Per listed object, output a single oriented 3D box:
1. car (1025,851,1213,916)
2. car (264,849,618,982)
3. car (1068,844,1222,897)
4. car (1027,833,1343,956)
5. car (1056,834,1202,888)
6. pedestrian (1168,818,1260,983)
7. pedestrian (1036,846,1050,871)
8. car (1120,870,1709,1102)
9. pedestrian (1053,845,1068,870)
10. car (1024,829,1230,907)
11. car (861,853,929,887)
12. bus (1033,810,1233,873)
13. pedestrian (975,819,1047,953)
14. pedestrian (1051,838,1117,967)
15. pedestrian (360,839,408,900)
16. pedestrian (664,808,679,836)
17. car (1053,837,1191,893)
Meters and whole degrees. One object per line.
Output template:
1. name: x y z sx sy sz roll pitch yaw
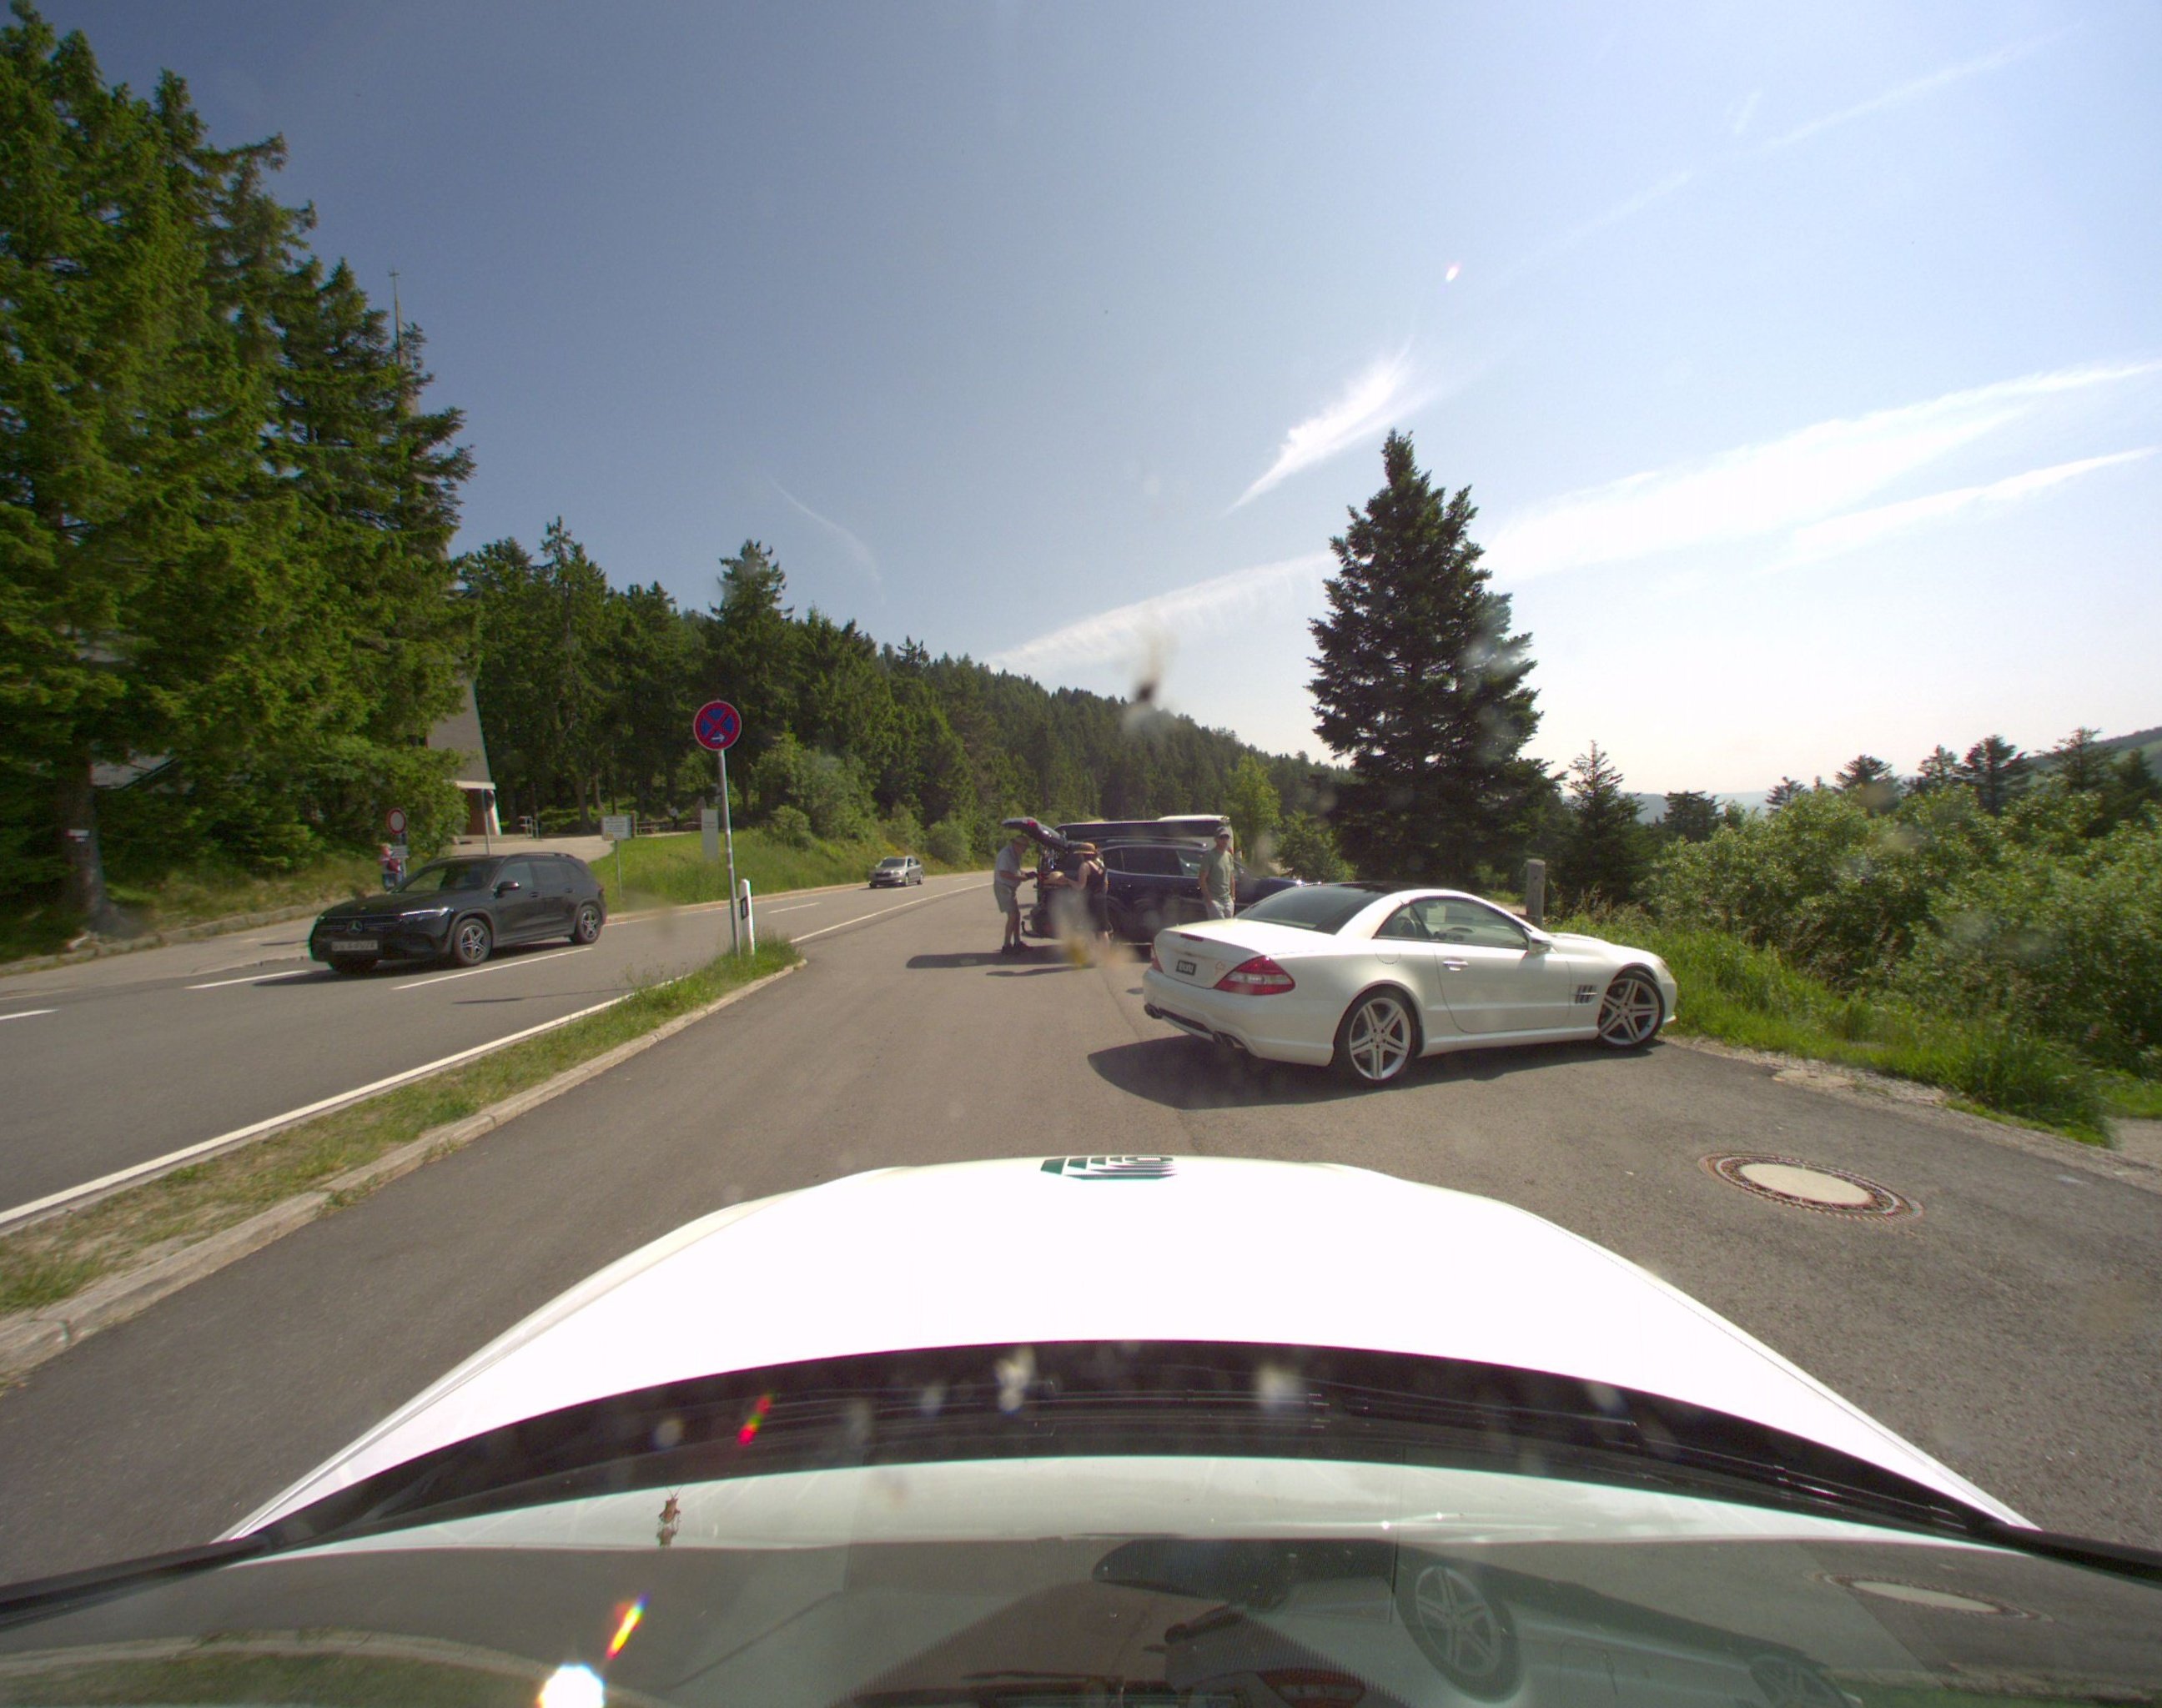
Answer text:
1. car: 0.787 0.635 18.455 4.076 1.376 1.699 0 0 -6
2. car: -9.770 0.799 13.071 1.987 1.647 4.566 -3 0 0
3. car: 1.788 0.449 23.612 4.230 1.269 1.838 -3 0 0
4. car: 1.406 0.577 12.063 4.337 1.626 1.866 1 -1 -6
5. car: 1.680 0.249 29.412 5.017 1.651 2.048 -3 0 0
6. pedestrian: 1.532 0.512 9.415 0.751 1.800 0.728 0 -1 -32
7. pedestrian: -2.500 0.269 53.464 0.766 1.585 0.774 -3 0 7
8. car: 2.670 0.809 6.468 4.416 1.296 1.743 0 1 -23
9. pedestrian: -1.328 0.219 53.333 0.766 1.585 0.774 -3 0 7
10. car: 1.154 0.335 20.729 4.929 1.695 1.946 -2 0 2
11. car: -9.044 0.744 39.935 1.870 1.474 4.720 -2 0 5
12. bus: 3.546 -0.795 54.772 13.011 3.532 3.052 -3 0 10
13. pedestrian: -1.012 0.424 11.863 0.728 1.870 0.763 1 3 30
14. pedestrian: 0.033 0.605 10.559 0.716 1.613 0.533 0 -1 -20
15. pedestrian: -20.048 0.447 23.430 0.720 1.681 0.680 -3 0 -12
16. pedestrian: -27.944 -2.183 55.631 0.674 1.877 0.545 -3 0 33
17. car: 1.300 0.338 26.295 4.230 1.553 1.838 -3 0 0
